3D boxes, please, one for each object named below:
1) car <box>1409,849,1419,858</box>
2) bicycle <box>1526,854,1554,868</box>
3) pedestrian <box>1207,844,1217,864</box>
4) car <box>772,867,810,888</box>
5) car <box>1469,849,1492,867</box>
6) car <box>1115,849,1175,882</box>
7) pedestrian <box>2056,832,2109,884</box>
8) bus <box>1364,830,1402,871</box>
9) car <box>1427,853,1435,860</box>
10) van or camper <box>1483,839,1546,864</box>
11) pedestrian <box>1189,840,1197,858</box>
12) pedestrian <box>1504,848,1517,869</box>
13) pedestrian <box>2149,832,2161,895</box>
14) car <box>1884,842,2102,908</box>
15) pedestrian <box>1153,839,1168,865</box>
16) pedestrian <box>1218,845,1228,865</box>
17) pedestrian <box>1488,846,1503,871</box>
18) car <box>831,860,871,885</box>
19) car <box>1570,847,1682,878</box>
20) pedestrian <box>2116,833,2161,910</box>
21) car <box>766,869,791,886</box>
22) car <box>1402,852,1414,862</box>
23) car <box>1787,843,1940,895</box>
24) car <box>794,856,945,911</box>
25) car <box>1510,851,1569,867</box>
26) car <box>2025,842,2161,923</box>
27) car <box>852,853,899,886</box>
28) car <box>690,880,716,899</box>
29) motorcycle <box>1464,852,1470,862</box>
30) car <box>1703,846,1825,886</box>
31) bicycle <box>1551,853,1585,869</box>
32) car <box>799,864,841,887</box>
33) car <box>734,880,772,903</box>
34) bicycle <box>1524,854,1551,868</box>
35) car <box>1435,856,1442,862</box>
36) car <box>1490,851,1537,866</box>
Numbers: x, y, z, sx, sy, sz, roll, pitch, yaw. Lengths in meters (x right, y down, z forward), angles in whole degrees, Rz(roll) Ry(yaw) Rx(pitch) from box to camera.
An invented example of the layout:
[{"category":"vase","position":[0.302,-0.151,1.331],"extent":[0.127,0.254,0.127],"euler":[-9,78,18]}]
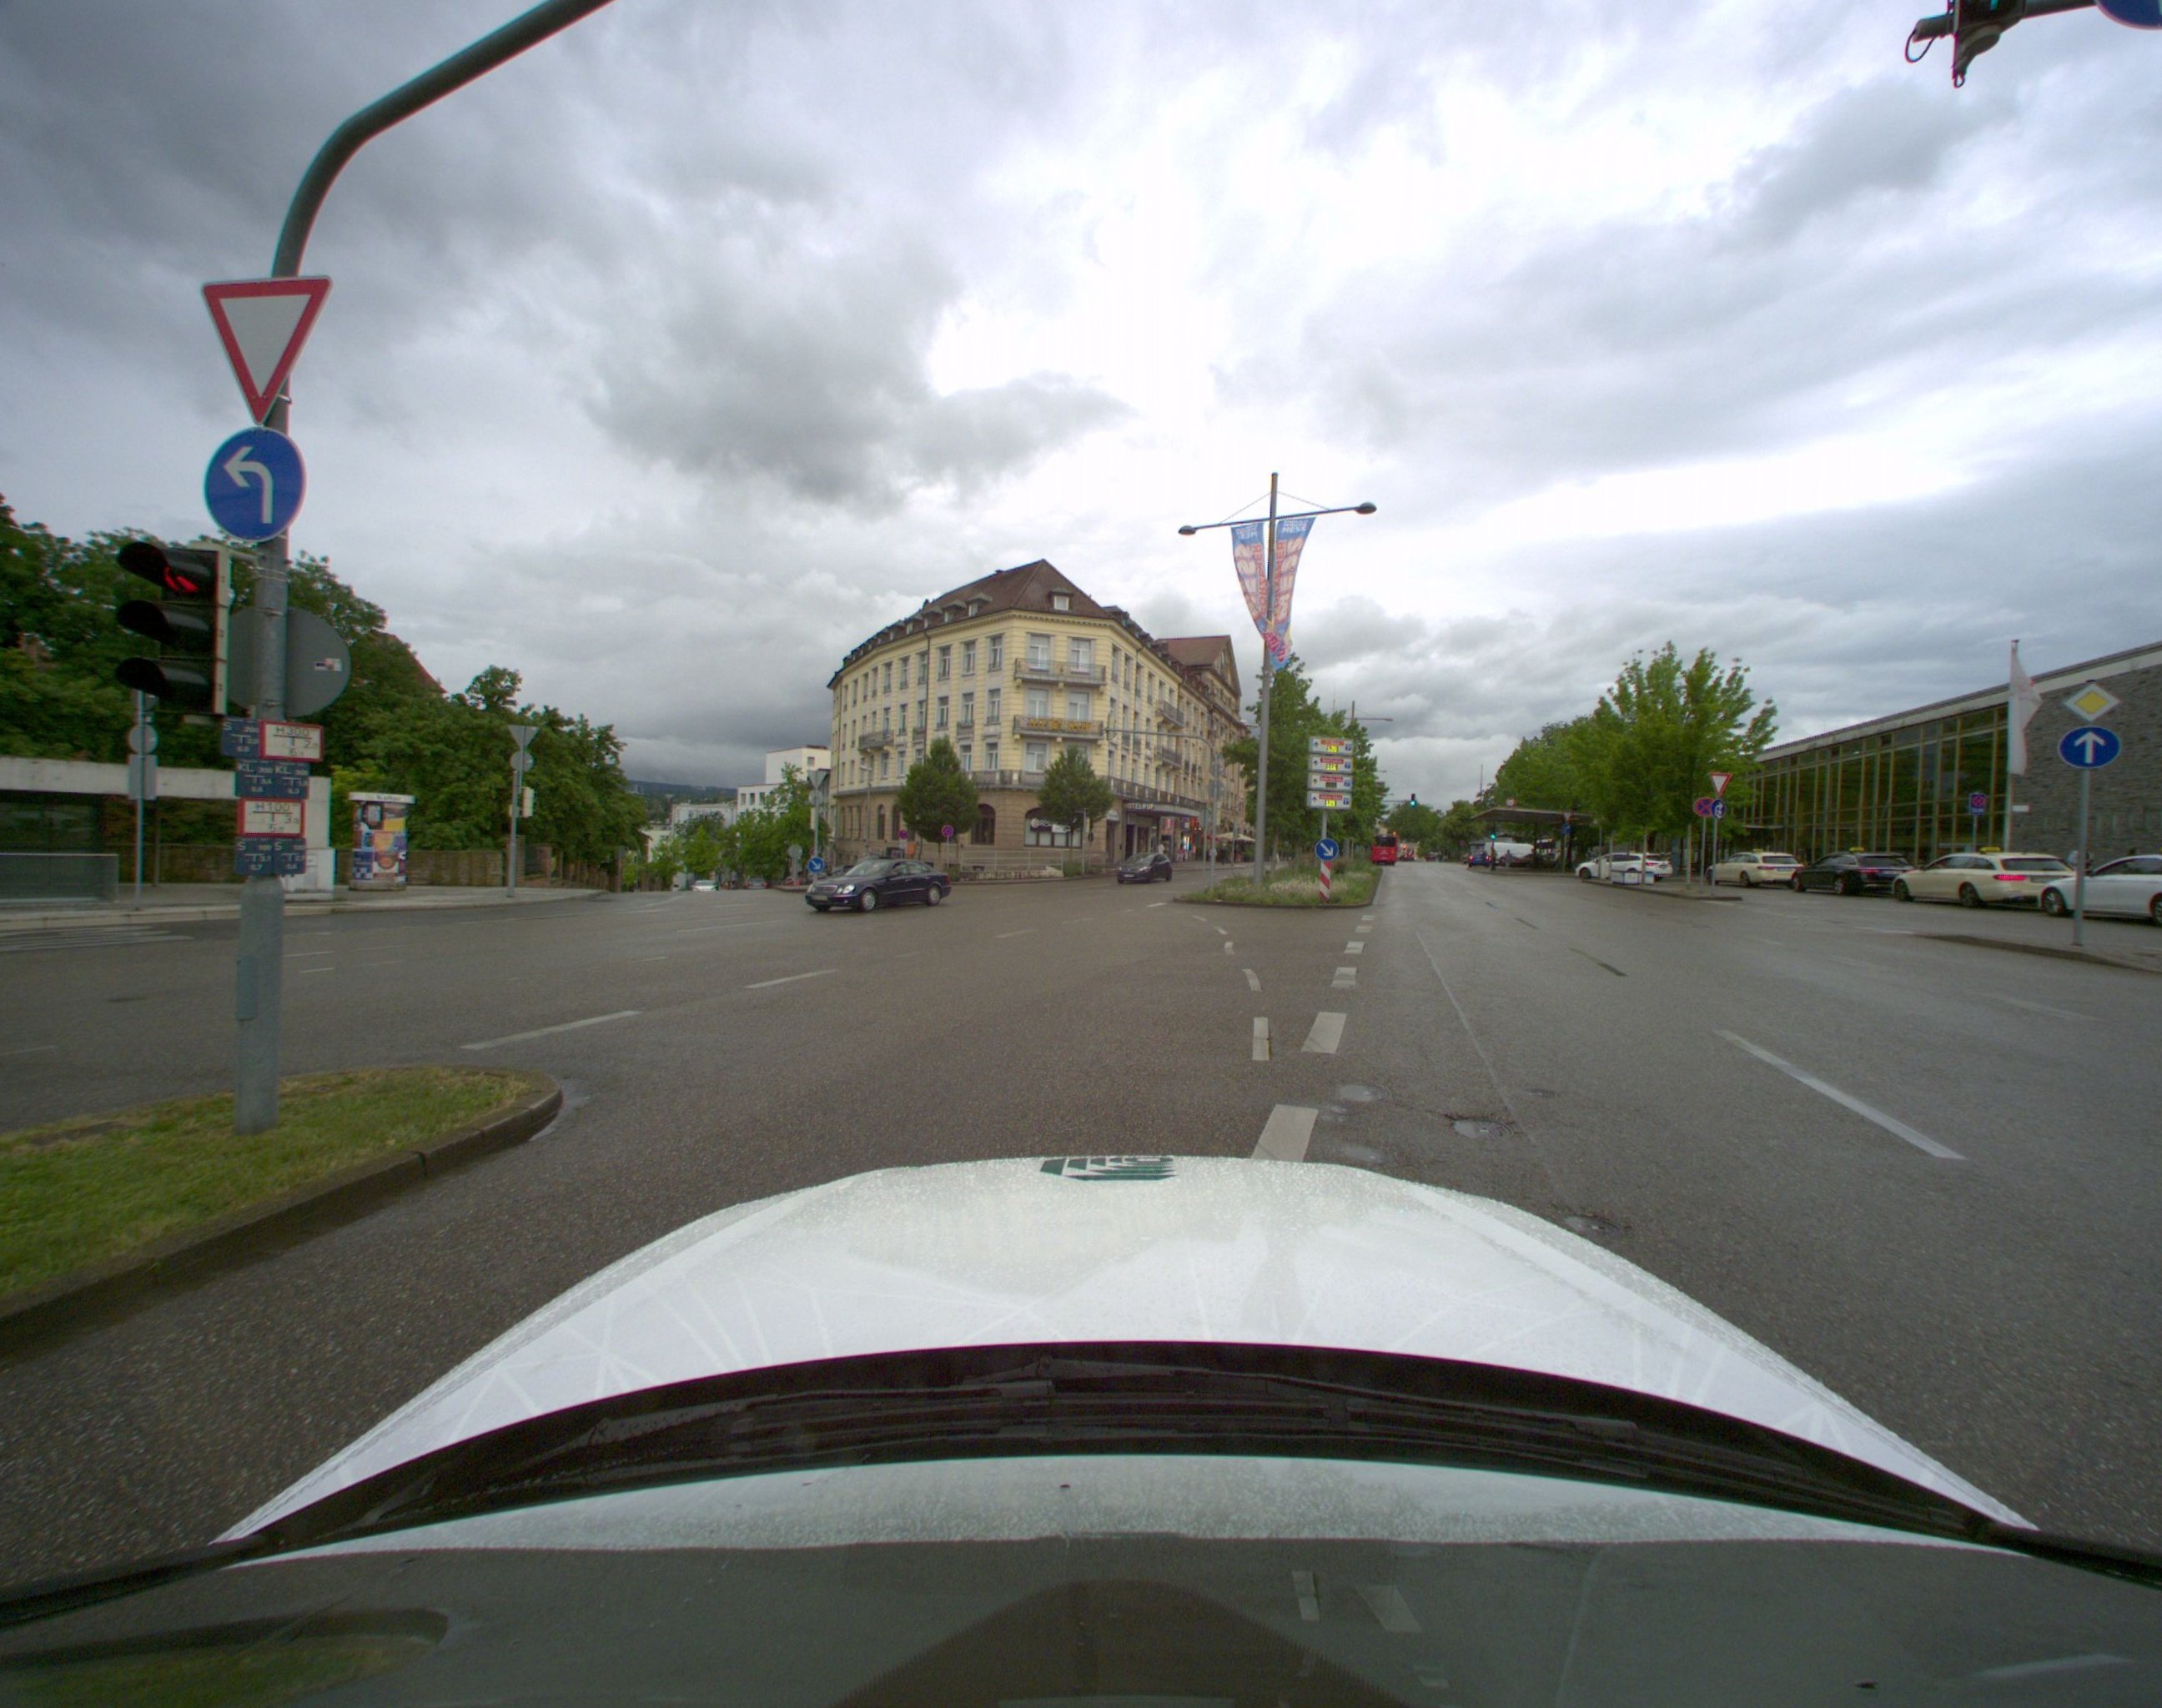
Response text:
[{"category":"car","position":[70.945,-0.131,173.401],"extent":[1.976,2.014,4.021],"euler":[-1,0,22]},{"category":"bicycle","position":[34.566,0.514,61.304],"extent":[1.819,1.056,0.421],"euler":[0,-1,3]},{"category":"pedestrian","position":[11.090,0.001,68.881],"extent":[0.675,1.664,0.811],"euler":[-1,-1,24]},{"category":"car","position":[-21.386,1.701,60.061],"extent":[1.777,1.478,3.968],"euler":[0,0,-33]},{"category":"car","position":[36.966,0.354,75.367],"extent":[1.842,1.569,4.023],"euler":[1,0,25]},{"category":"car","position":[3.196,0.556,39.882],"extent":[1.662,1.512,3.885],"euler":[-1,0,24]},{"category":"pedestrian","position":[31.035,0.139,25.249],"extent":[0.762,1.580,0.714],"euler":[-1,-1,18]},{"category":"bus","position":[31.818,-0.332,86.227],"extent":[3.516,3.979,11.225],"euler":[-1,0,19]},{"category":"car","position":[79.473,0.611,185.143],"extent":[1.581,1.560,3.669],"euler":[-1,0,22]},{"category":"van or camper","position":[47.808,-0.282,89.868],"extent":[5.938,2.763,2.194],"euler":[0,-1,-6]},{"category":"pedestrian","position":[10.204,-0.432,74.033],"extent":[0.662,1.664,0.538],"euler":[-1,-1,13]},{"category":"pedestrian","position":[38.909,0.423,73.770],"extent":[0.849,1.835,1.196],"euler":[0,-1,21]},{"category":"pedestrian","position":[28.077,0.245,20.813],"extent":[0.723,1.626,0.791],"euler":[0,-1,-23]},{"category":"car","position":[24.774,0.505,22.437],"extent":[1.976,1.599,4.984],"euler":[-1,0,22]},{"category":"pedestrian","position":[5.585,-0.166,57.491],"extent":[0.872,1.813,0.754],"euler":[-1,-1,21]},{"category":"pedestrian","position":[11.932,0.065,68.452],"extent":[0.675,1.664,0.811],"euler":[-1,-1,21]},{"category":"pedestrian","position":[29.579,0.313,58.140],"extent":[0.741,1.747,0.839],"euler":[0,-1,13]},{"category":"car","position":[-14.437,1.113,50.964],"extent":[1.639,1.398,3.964],"euler":[0,1,-28]},{"category":"car","position":[28.001,0.423,42.026],"extent":[1.763,1.546,4.748],"euler":[1,0,-18]},{"category":"pedestrian","position":[30.549,0.497,23.361],"extent":[0.788,2.164,0.727],"euler":[-1,-1,24]},{"category":"car","position":[-29.279,2.266,78.735],"extent":[1.774,1.478,3.964],"euler":[0,0,-27]},{"category":"car","position":[63.966,0.562,159.331],"extent":[1.976,2.014,4.021],"euler":[-1,0,22]},{"category":"car","position":[26.950,0.457,28.313],"extent":[1.977,1.599,4.983],"euler":[1,1,20]},{"category":"car","position":[-5.915,0.772,23.231],"extent":[1.937,1.422,4.024],"euler":[-1,0,28]},{"category":"car","position":[39.859,0.409,70.883],"extent":[4.169,1.325,1.841],"euler":[1,0,1]},{"category":"car","position":[22.607,0.561,16.889],"extent":[1.863,1.599,4.929],"euler":[-1,0,22]},{"category":"car","position":[-11.463,0.821,45.291],"extent":[1.639,1.759,3.964],"euler":[0,1,-28]},{"category":"car","position":[-30.720,2.829,66.104],"extent":[1.639,1.398,3.963],"euler":[0,0,-29]},{"category":"motorcycle","position":[50.677,0.407,106.959],"extent":[0.589,1.288,1.965],"euler":[0,0,27]},{"category":"car","position":[28.804,0.467,34.595],"extent":[1.979,1.599,4.977],"euler":[-1,0,14]},{"category":"bicycle","position":[31.807,0.472,53.189],"extent":[1.812,1.056,0.422],"euler":[-1,-1,21]},{"category":"car","position":[-17.705,1.401,55.148],"extent":[1.777,1.478,3.958],"euler":[0,0,-33]},{"category":"car","position":[-24.063,2.712,59.673],"extent":[1.707,1.465,4.405],"euler":[0,0,-33]},{"category":"bicycle","position":[34.626,0.520,61.763],"extent":[1.819,1.056,0.421],"euler":[0,-1,3]},{"category":"car","position":[103.008,1.493,234.512],"extent":[1.630,1.661,3.669],"euler":[-1,0,22]},{"category":"car","position":[44.865,0.436,84.480],"extent":[3.980,1.443,1.861],"euler":[1,0,-5]}]
